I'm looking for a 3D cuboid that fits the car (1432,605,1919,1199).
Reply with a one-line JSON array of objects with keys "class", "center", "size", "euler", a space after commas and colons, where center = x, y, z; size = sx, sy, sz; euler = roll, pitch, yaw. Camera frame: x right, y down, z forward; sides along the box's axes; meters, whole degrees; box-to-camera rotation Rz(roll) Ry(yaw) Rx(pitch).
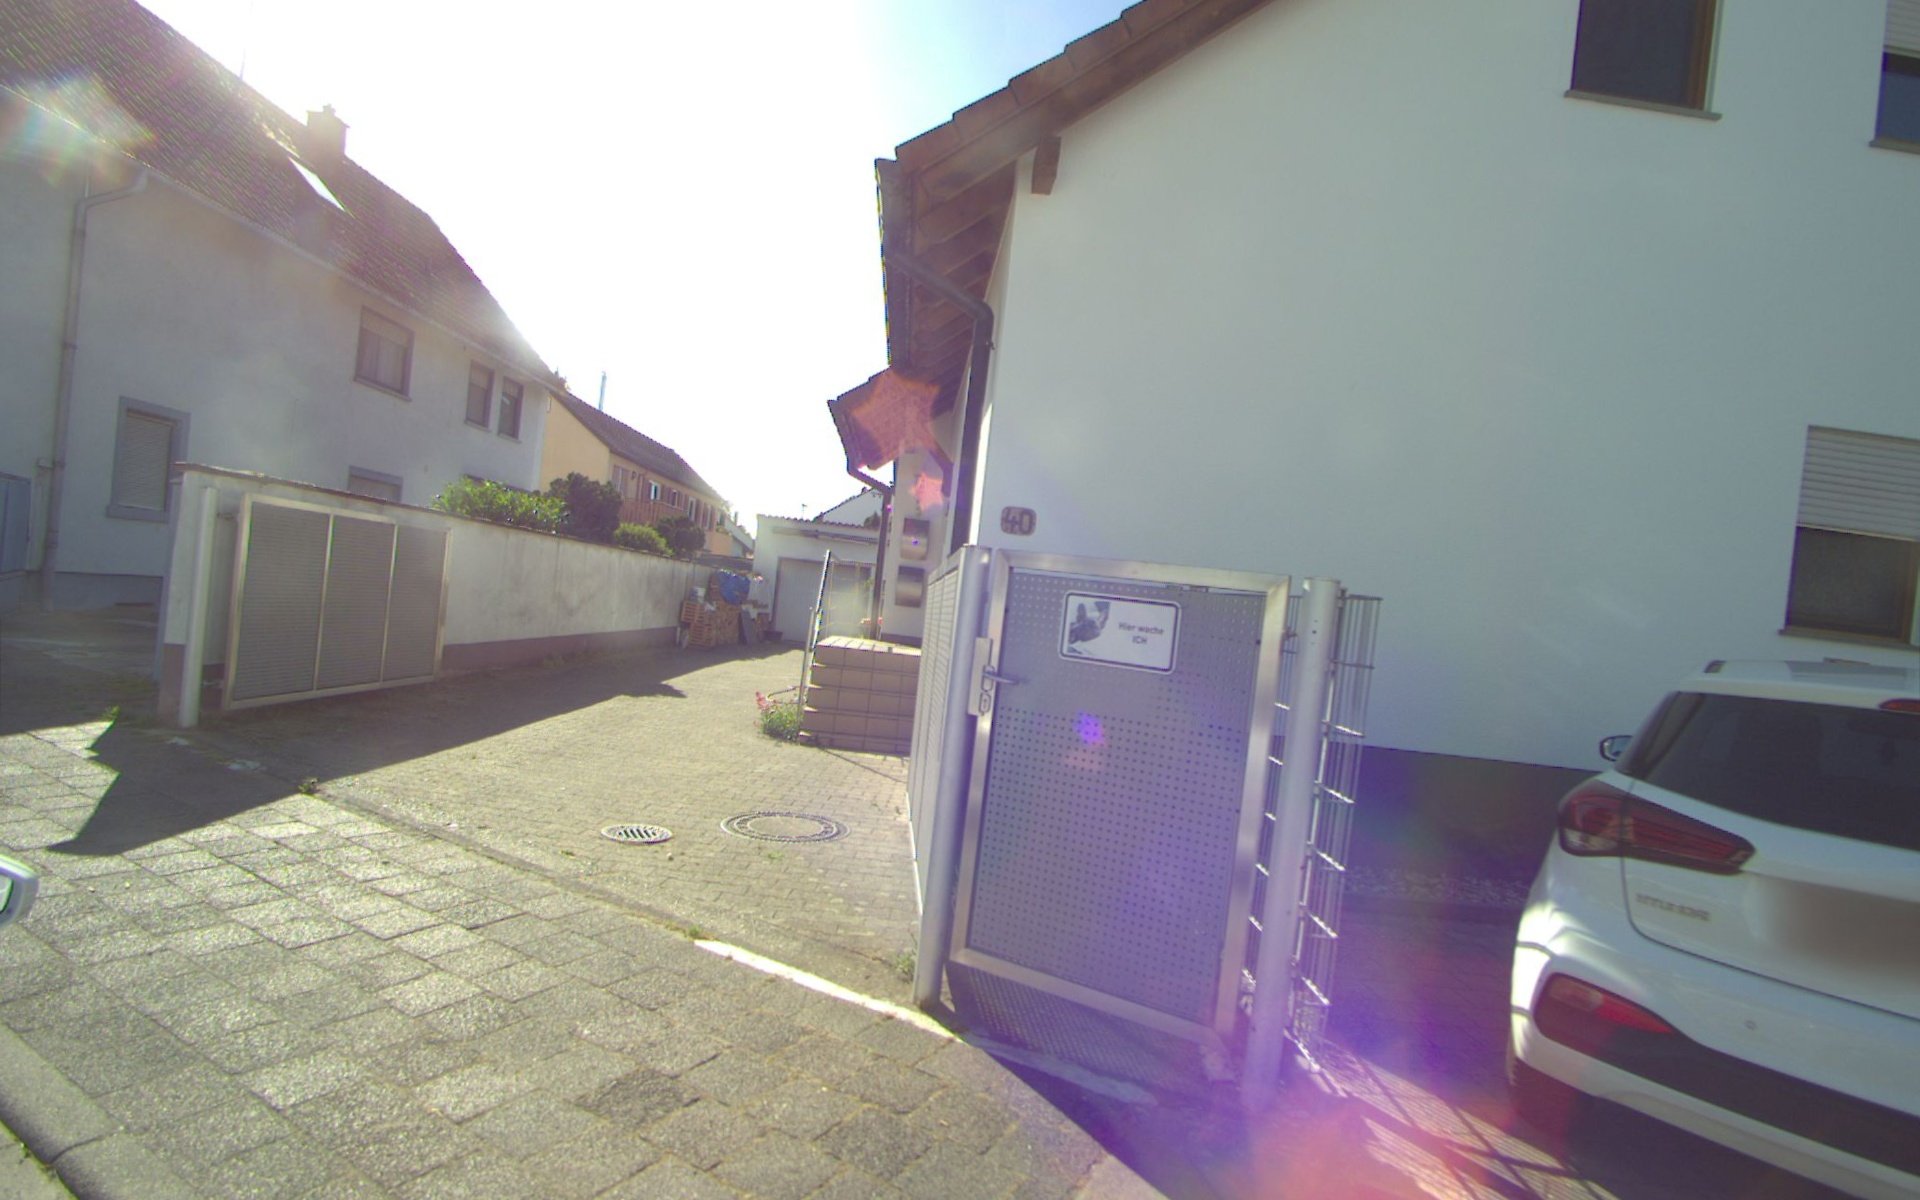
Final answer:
[{"class": "car", "center": [3.225, 0.967, 3.472], "size": [1.821, 1.511, 3.906], "euler": [6, 0, 40]}]
